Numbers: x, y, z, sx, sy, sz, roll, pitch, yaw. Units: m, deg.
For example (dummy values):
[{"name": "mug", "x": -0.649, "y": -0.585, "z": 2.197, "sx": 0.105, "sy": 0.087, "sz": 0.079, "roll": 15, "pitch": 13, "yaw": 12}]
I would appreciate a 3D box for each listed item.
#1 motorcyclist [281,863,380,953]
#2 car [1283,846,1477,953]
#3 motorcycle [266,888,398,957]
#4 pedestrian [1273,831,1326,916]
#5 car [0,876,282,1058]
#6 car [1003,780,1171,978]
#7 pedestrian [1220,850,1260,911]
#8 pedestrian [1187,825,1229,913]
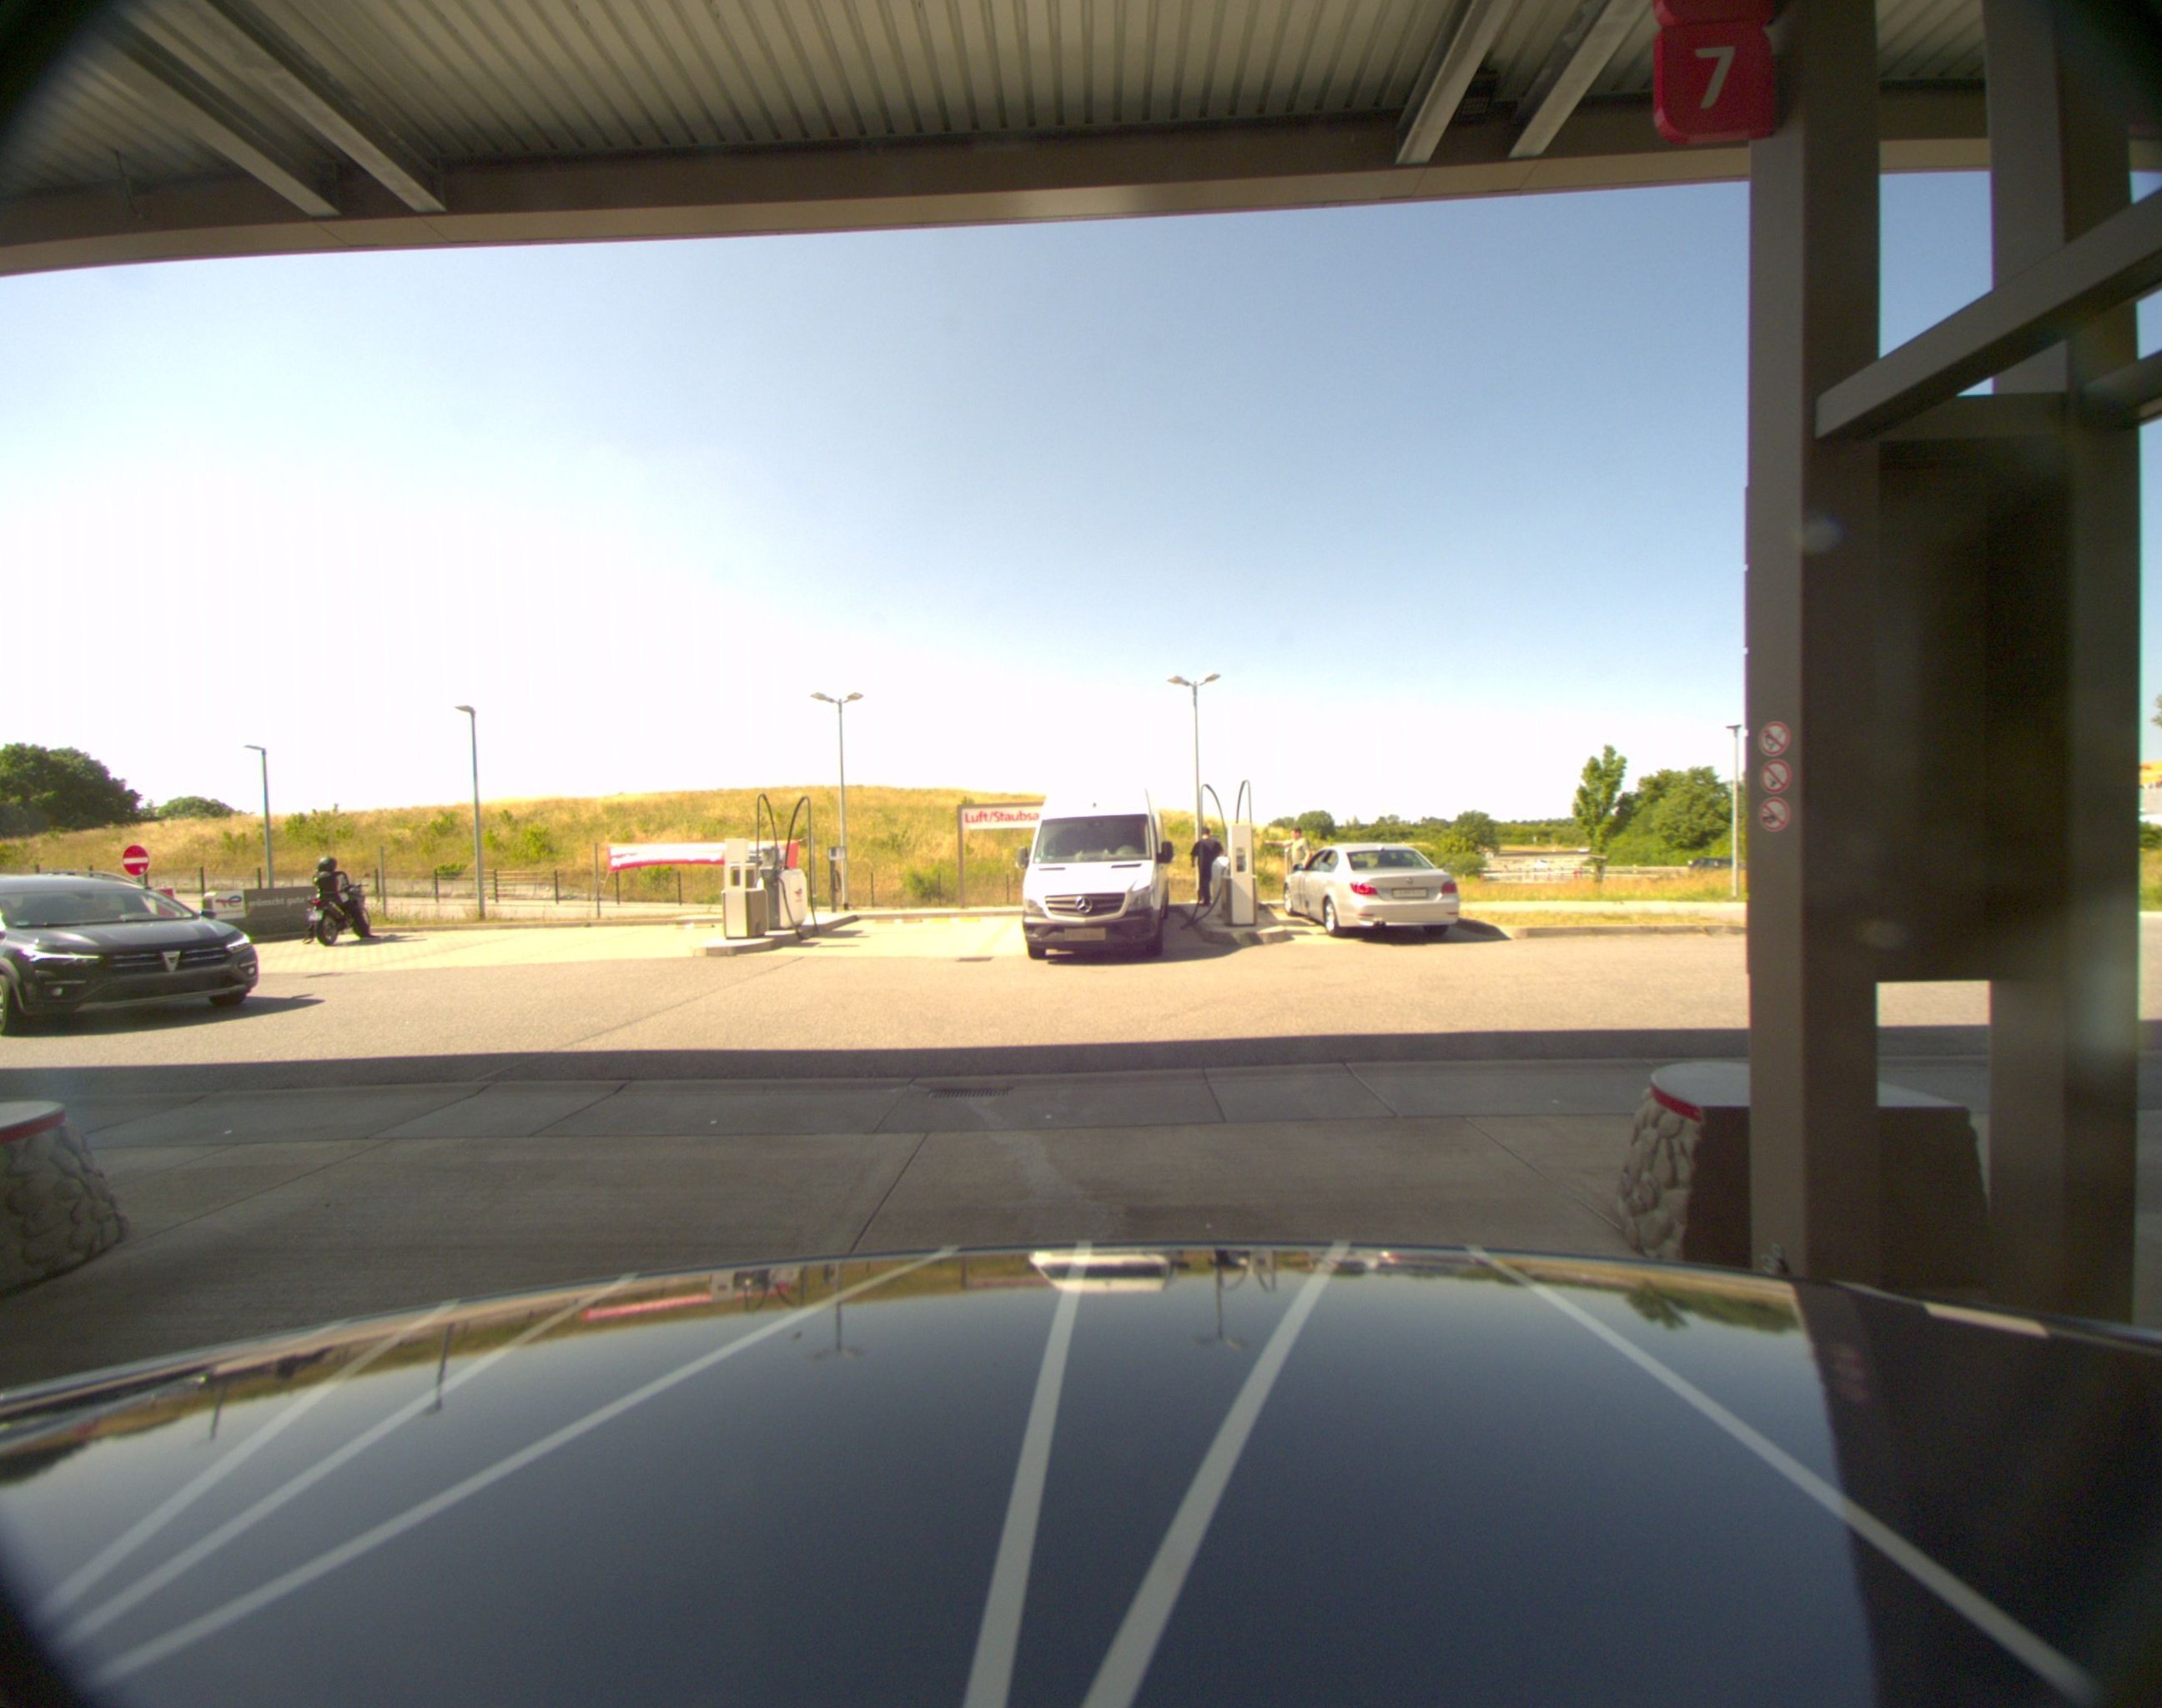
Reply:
[{"name": "motorcyclist", "x": -14.984, "y": 1.033, "z": 15.220, "sx": 1.036, "sy": 1.678, "sz": 1.097, "roll": -2, "pitch": 1, "yaw": -23}, {"name": "car", "x": 4.871, "y": 0.637, "z": 13.063, "sx": 1.791, "sy": 1.420, "sz": 4.321, "roll": -1, "pitch": 2, "yaw": 3}, {"name": "motorcycle", "x": -15.056, "y": 1.335, "z": 15.394, "sx": 1.047, "sy": 1.100, "sz": 2.411, "roll": -2, "pitch": 2, "yaw": -23}, {"name": "pedestrian", "x": 4.608, "y": 0.405, "z": 16.032, "sx": 0.845, "sy": 1.739, "sz": 0.709, "roll": -2, "pitch": 1, "yaw": -5}, {"name": "car", "x": -11.777, "y": 1.140, "z": 8.662, "sx": 4.622, "sy": 1.635, "sz": 1.746, "roll": -1, "pitch": 1, "yaw": 17}, {"name": "car", "x": 0.485, "y": 0.181, "z": 13.417, "sx": 1.997, "sy": 2.557, "sz": 7.032, "roll": -1, "pitch": 3, "yaw": 8}, {"name": "pedestrian", "x": 3.516, "y": 0.579, "z": 16.791, "sx": 0.576, "sy": 1.299, "sz": 0.670, "roll": -1, "pitch": 1, "yaw": 42}, {"name": "pedestrian", "x": 2.650, "y": 0.305, "z": 15.878, "sx": 0.709, "sy": 1.759, "sz": 0.845, "roll": -1, "pitch": 1, "yaw": 1}]
